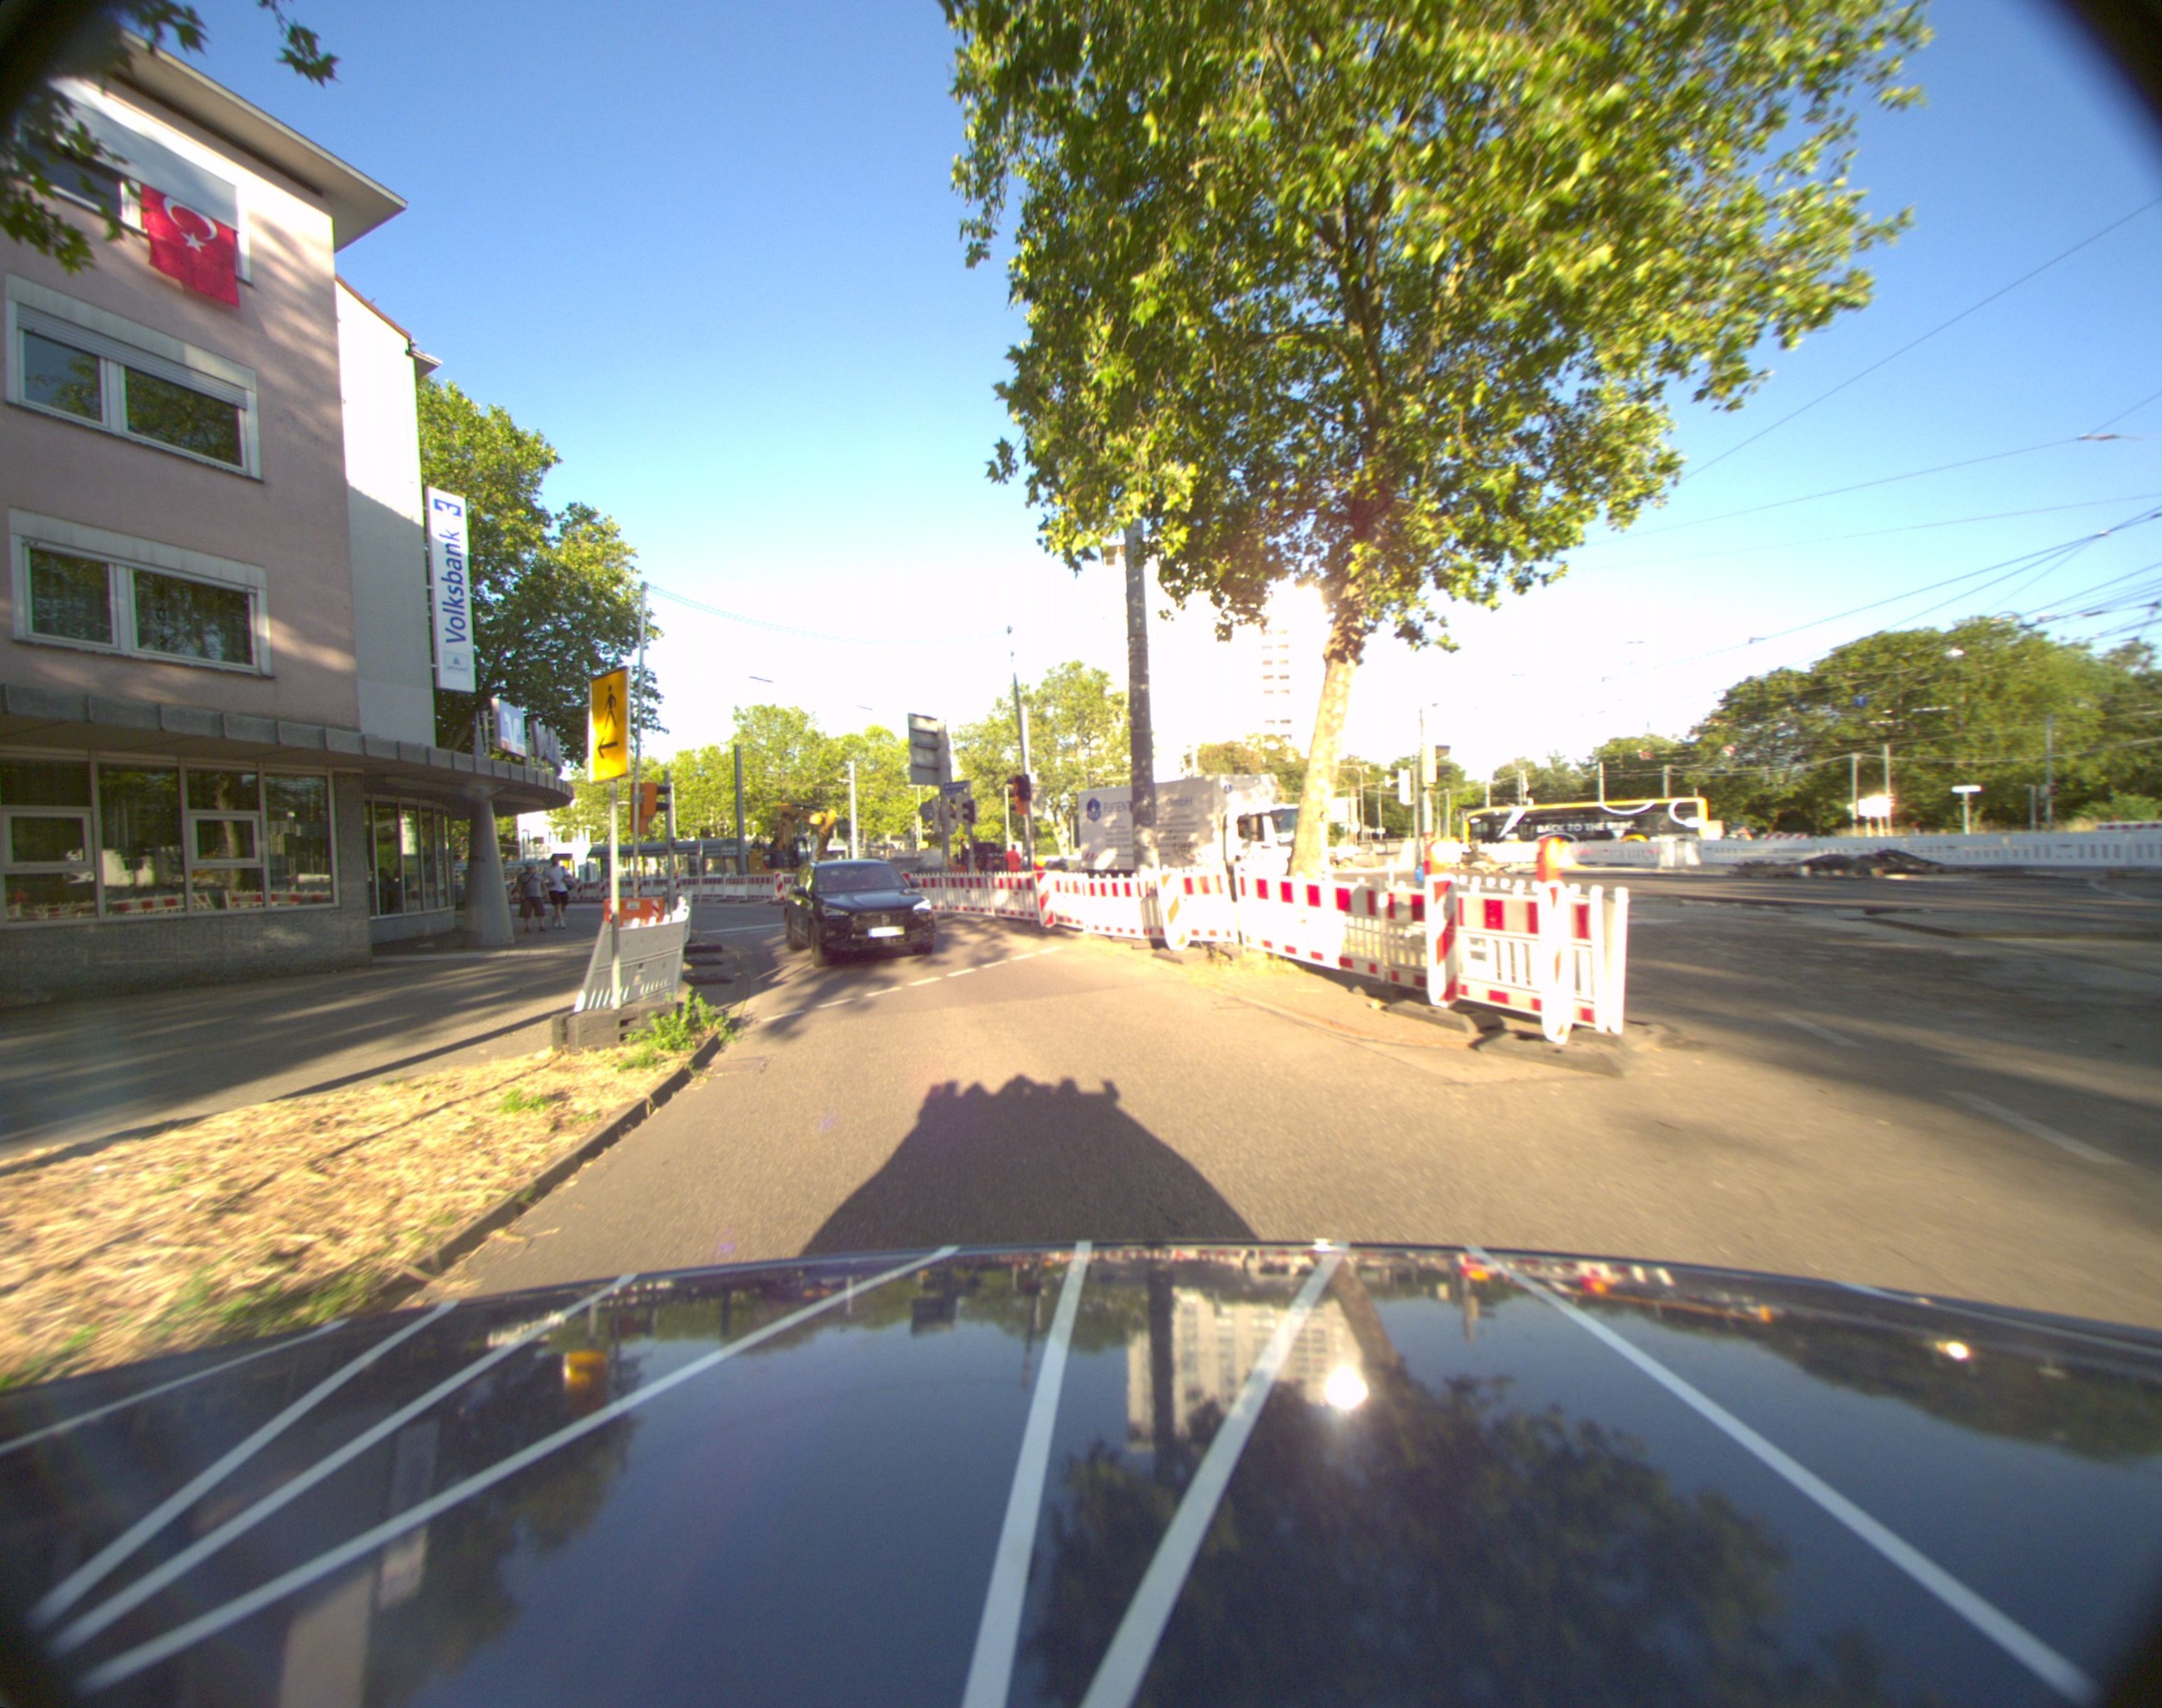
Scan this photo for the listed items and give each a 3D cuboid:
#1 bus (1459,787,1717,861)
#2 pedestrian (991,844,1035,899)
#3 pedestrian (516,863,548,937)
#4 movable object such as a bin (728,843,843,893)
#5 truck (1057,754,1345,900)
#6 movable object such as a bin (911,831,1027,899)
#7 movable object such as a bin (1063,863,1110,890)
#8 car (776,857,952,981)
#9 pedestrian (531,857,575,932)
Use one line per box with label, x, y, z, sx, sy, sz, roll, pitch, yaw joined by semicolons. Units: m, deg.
bus;29.257;-1.640;44.851;12.272;3.701;3.092;-2;1;24
pedestrian;-2.319;0.578;25.907;1.067;1.788;0.977;-2;2;45
pedestrian;-13.040;1.079;18.044;0.586;1.698;0.677;0;-1;-36
movable object such as a bin;-15.151;0.714;39.069;4.891;2.304;2.655;-2;1;22
truck;3.067;-0.619;22.701;2.826;3.521;8.960;-3;1;-36
movable object such as a bin;-4.294;0.405;28.439;2.003;2.244;5.194;-5;2;-35
movable object such as a bin;0.200;0.816;27.818;1.416;0.911;0.937;-2;1;30
car;-3.883;0.942;13.051;2.002;1.638;4.195;-4;1;-28
pedestrian;-13.537;1.049;19.473;0.842;1.857;1.097;2;-4;-37
